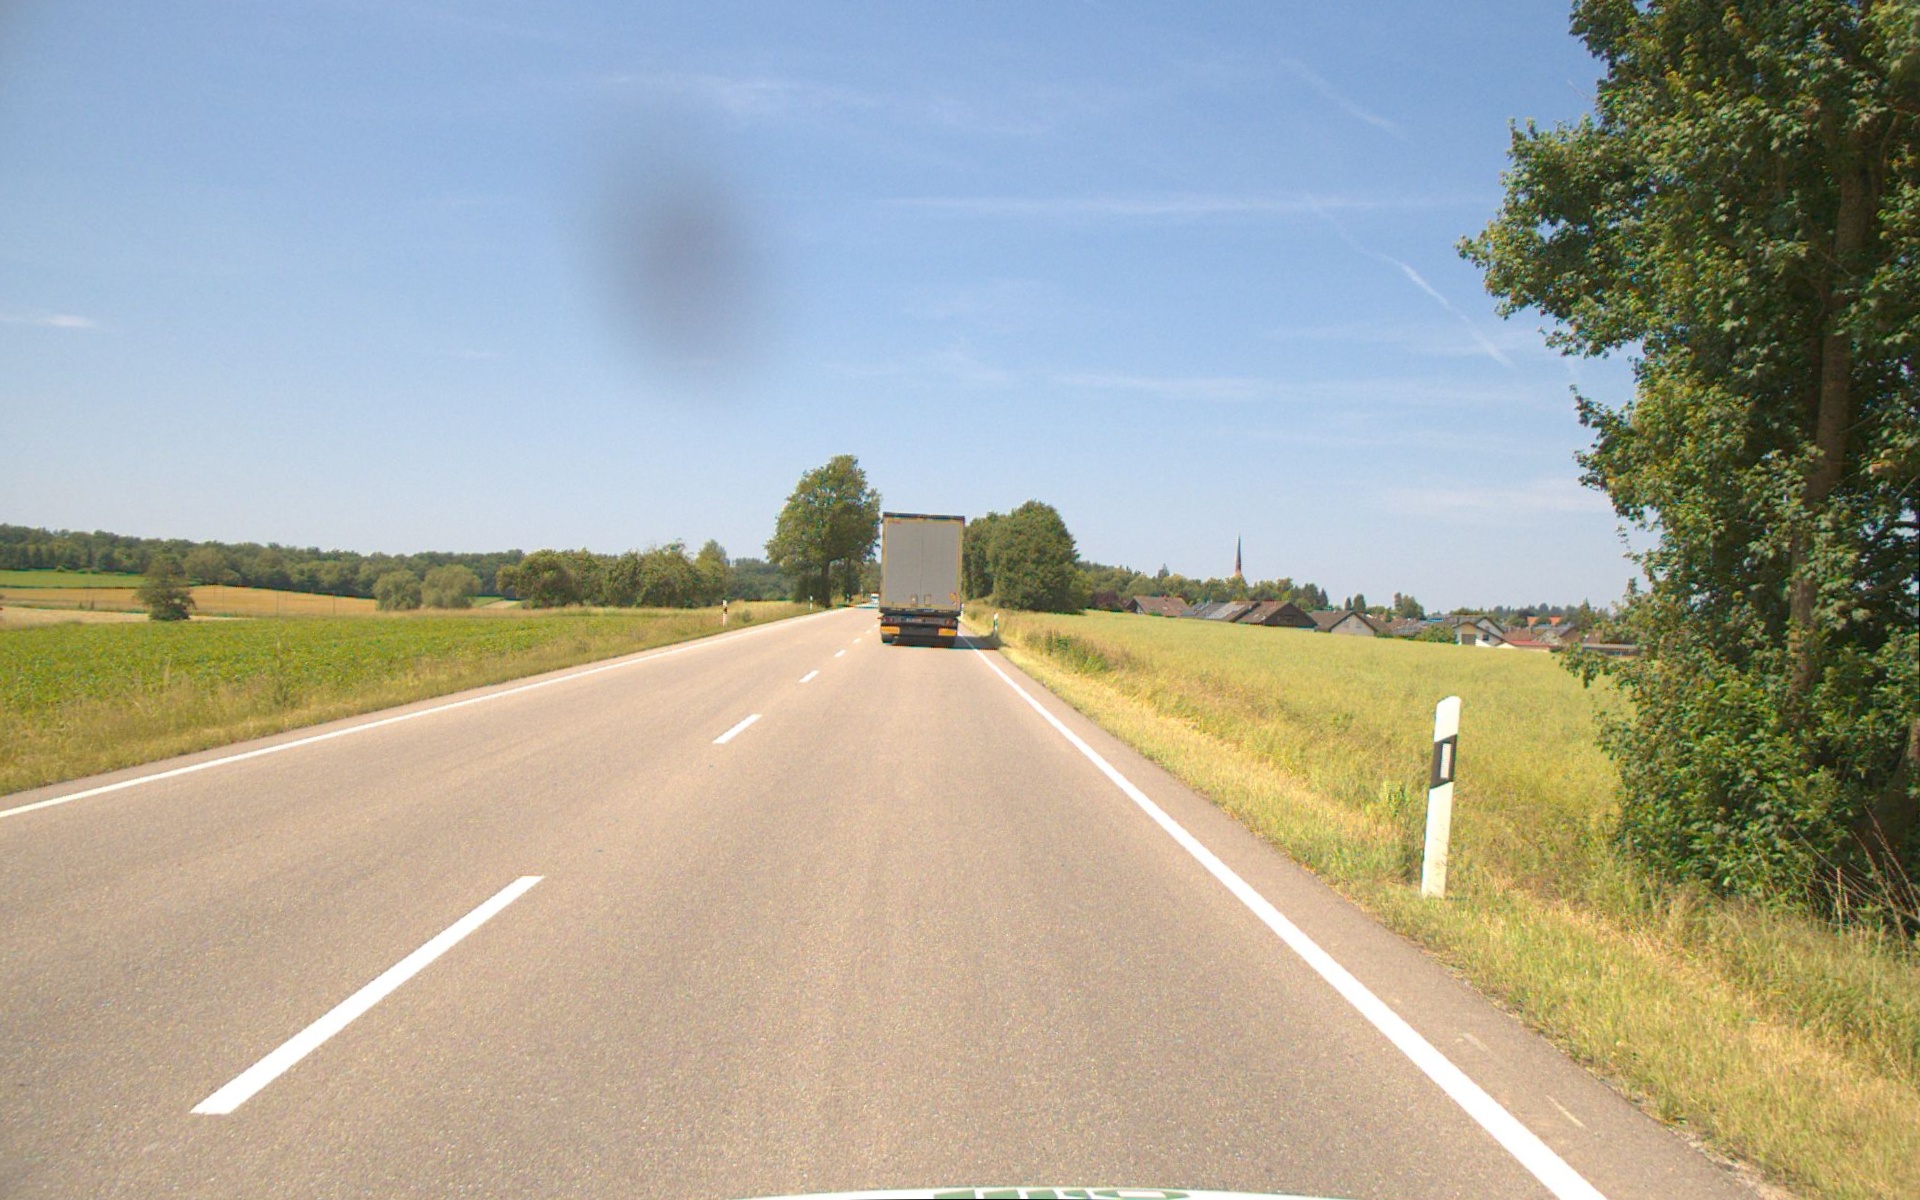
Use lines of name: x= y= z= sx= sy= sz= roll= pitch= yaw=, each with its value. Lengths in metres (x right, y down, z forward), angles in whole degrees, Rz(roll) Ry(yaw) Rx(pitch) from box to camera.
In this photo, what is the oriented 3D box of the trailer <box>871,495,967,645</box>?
trailer: x=-1.481 y=-0.952 z=56.891 sx=2.809 sy=4.477 sz=13.487 roll=1 pitch=0 yaw=-2
